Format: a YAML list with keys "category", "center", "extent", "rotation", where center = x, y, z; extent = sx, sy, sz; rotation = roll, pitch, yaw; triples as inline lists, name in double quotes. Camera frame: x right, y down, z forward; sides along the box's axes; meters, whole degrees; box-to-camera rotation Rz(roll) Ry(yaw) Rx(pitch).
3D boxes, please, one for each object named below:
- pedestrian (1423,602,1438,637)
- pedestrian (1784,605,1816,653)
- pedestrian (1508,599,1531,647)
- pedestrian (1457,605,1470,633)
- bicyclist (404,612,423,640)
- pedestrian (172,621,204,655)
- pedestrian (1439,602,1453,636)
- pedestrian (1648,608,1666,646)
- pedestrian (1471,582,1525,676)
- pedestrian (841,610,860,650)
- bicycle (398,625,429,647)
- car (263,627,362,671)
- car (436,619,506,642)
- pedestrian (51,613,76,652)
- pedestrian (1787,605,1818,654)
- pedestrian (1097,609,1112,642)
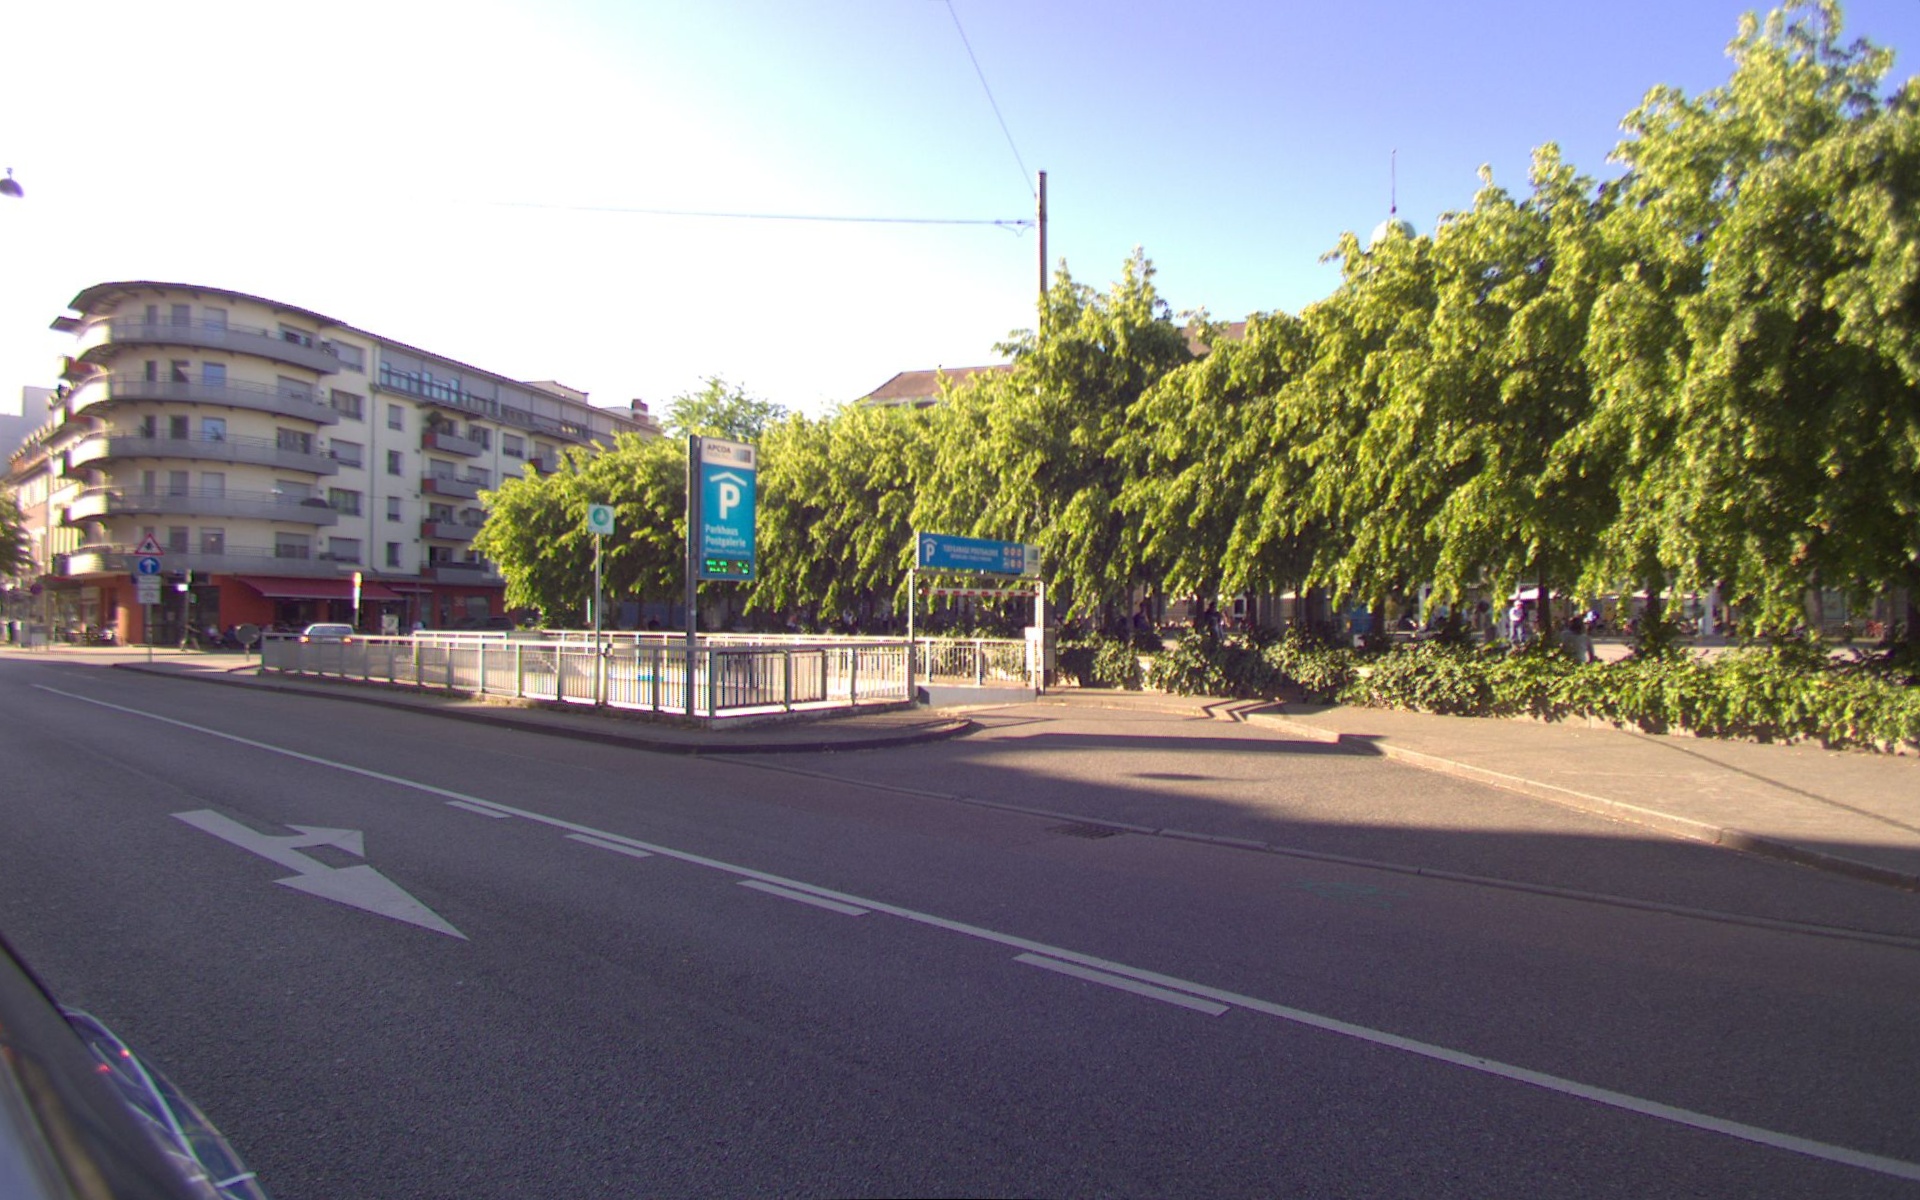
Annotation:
- category: "pedestrian"
  center: [24.037, 0.993, 51.697]
  extent: [0.643, 1.734, 0.603]
  rotation: [-1, 0, 26]
- category: "pedestrian"
  center: [30.427, 1.053, 36.657]
  extent: [0.640, 1.734, 0.606]
  rotation: [-1, 0, 13]
- category: "pedestrian"
  center: [20.694, 0.849, 37.450]
  extent: [0.643, 1.734, 0.604]
  rotation: [-1, 0, 22]
- category: "pedestrian"
  center: [31.731, 1.171, 63.738]
  extent: [0.642, 1.734, 0.604]
  rotation: [-1, 0, 20]
- category: "bicyclist"
  center: [-30.279, 1.441, 56.084]
  extent: [0.521, 1.559, 0.794]
  rotation: [-1, 0, 18]
- category: "pedestrian"
  center: [-37.241, 1.807, 48.850]
  extent: [0.877, 1.607, 0.861]
  rotation: [-1, 0, 2]
- category: "pedestrian"
  center: [25.273, 0.998, 52.632]
  extent: [0.643, 1.734, 0.603]
  rotation: [-1, 0, 26]
- category: "pedestrian"
  center: [35.898, 1.389, 52.118]
  extent: [0.676, 1.963, 0.632]
  rotation: [-1, 0, 38]
- category: "pedestrian"
  center: [9.810, 0.518, 18.441]
  extent: [0.645, 1.661, 0.626]
  rotation: [-1, 0, -35]
- category: "pedestrian"
  center: [-4.808, 1.326, 44.478]
  extent: [0.604, 1.734, 0.642]
  rotation: [-1, 0, 21]
- category: "bicycle"
  center: [-30.270, 2.001, 56.072]
  extent: [0.523, 1.179, 1.583]
  rotation: [-1, 0, 19]
- category: "car"
  center: [-22.179, 1.641, 34.605]
  extent: [4.265, 1.363, 1.799]
  rotation: [0, -3, 43]
- category: "car"
  center: [-30.471, 1.891, 63.214]
  extent: [1.742, 1.311, 3.977]
  rotation: [-1, -1, 17]
- category: "pedestrian"
  center: [-46.713, 1.677, 52.758]
  extent: [0.888, 2.029, 0.850]
  rotation: [-1, 0, 40]
- category: "pedestrian"
  center: [30.382, 1.053, 36.493]
  extent: [0.641, 1.734, 0.605]
  rotation: [-1, 0, 18]
- category: "pedestrian"
  center: [7.806, 1.365, 54.701]
  extent: [0.606, 1.734, 0.640]
  rotation: [-1, 0, 31]
